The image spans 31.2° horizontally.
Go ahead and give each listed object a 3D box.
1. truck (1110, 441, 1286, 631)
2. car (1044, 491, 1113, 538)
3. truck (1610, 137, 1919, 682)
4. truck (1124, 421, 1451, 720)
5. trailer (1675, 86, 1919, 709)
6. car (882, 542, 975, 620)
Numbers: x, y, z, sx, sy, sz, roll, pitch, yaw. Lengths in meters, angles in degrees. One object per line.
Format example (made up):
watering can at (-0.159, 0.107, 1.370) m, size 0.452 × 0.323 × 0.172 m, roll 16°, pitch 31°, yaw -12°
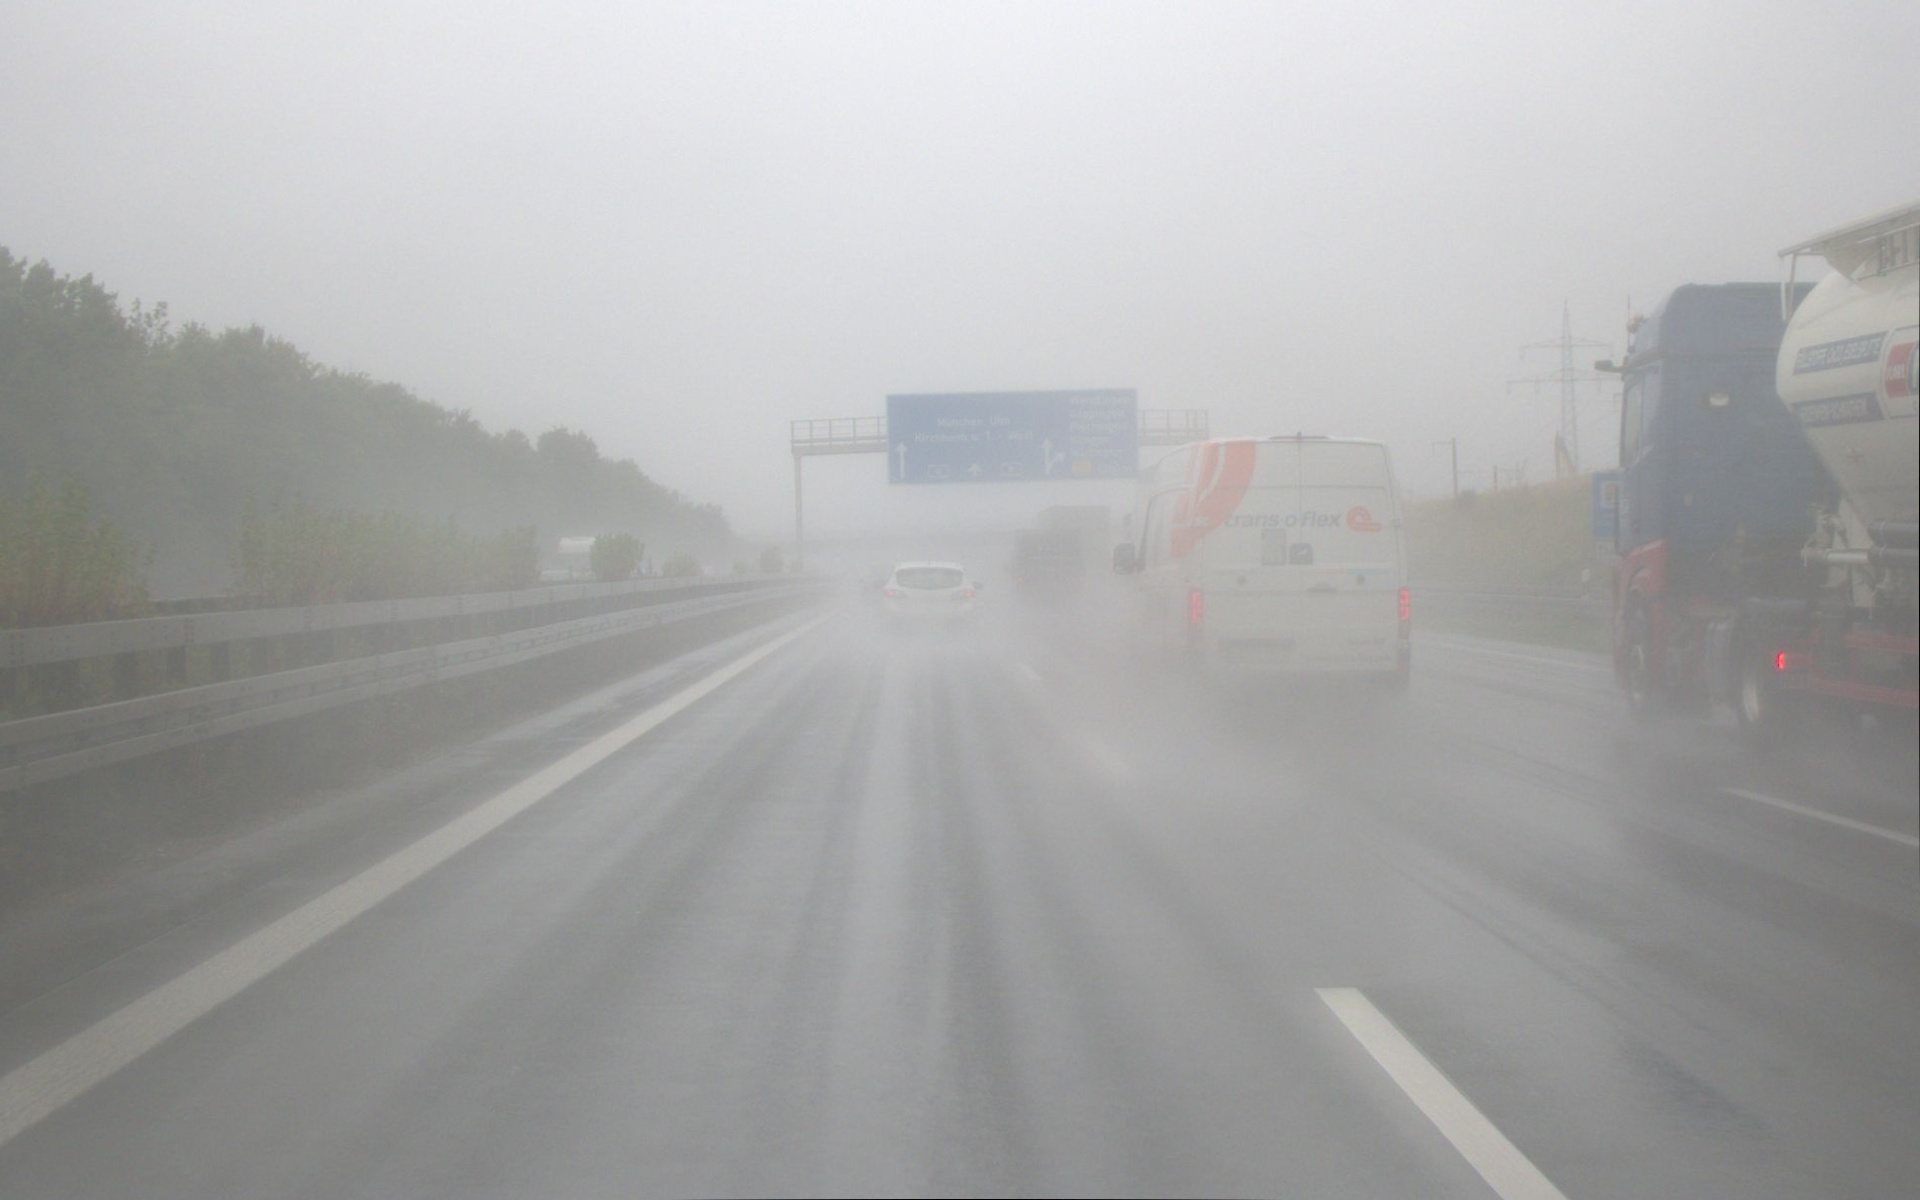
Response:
truck at (6.142, -1.609, 91.714) m, size 3.039 × 4.572 × 16.352 m, roll 1°, pitch 0°, yaw -2°
car at (5.192, -3.751, 151.459) m, size 2.788 × 2.007 × 4.993 m, roll 1°, pitch 1°, yaw -1°
truck at (7.056, -1.444, 27.719) m, size 2.496 × 3.970 × 5.076 m, roll 1°, pitch 1°, yaw -1°
truck at (2.875, -0.309, 31.568) m, size 2.419 × 2.484 × 5.560 m, roll 1°, pitch 1°, yaw 0°
trailer at (7.181, -1.271, 22.216) m, size 2.497 × 3.869 × 11.068 m, roll 1°, pitch 1°, yaw -1°
car at (-0.578, -0.362, 61.823) m, size 1.605 × 1.333 × 3.849 m, roll 1°, pitch 1°, yaw -1°
